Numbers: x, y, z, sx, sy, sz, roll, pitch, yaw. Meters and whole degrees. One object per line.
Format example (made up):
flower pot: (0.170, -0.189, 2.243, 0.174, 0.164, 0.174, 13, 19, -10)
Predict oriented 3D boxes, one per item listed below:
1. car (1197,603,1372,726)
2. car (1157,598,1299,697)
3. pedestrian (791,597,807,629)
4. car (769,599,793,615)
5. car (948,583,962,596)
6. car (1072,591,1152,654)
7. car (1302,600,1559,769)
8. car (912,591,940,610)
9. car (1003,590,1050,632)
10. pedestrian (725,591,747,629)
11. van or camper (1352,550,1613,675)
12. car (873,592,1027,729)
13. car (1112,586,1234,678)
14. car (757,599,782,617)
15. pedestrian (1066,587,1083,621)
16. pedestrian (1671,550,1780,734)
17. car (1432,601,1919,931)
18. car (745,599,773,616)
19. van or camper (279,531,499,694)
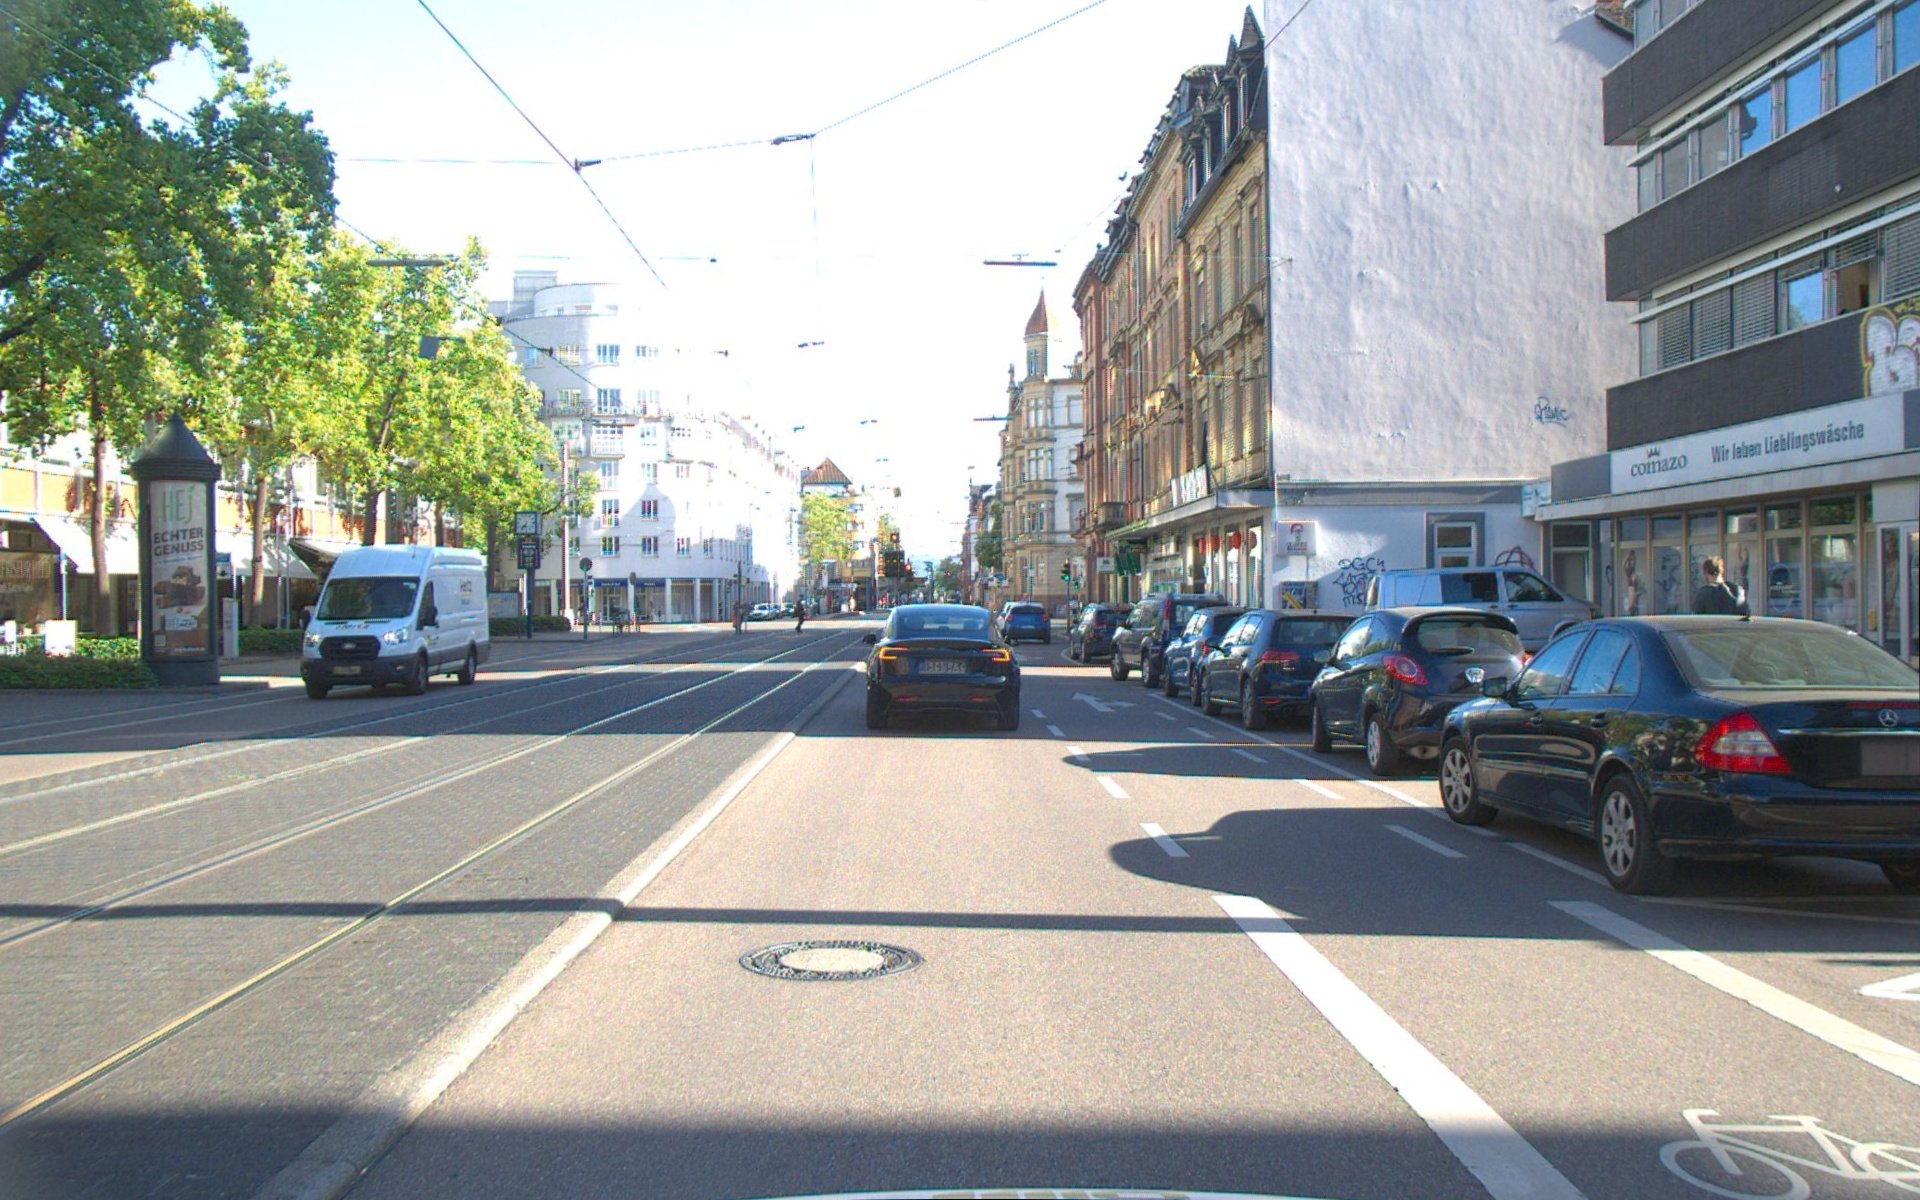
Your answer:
car: (4.124, 0.766, 21.532, 1.432, 1.457, 3.812, 0, 0, -2)
car: (4.216, 0.705, 26.527, 1.547, 1.469, 3.912, 0, 0, -2)
pedestrian: (-7.636, 0.622, 78.567, 0.687, 1.528, 0.795, 0, 0, 0)
car: (-18.074, 0.693, 167.054, 1.953, 1.521, 3.999, -1, 1, -1)
car: (-0.665, -1.366, 219.270, 1.808, 1.620, 4.000, -2, 1, 0)
car: (3.847, 0.537, 42.437, 1.680, 1.498, 3.719, -1, 1, 0)
car: (4.435, 0.737, 16.037, 1.546, 1.472, 3.309, 0, 0, 0)
car: (-2.775, 0.056, 133.779, 1.955, 1.552, 3.995, 1, -1, -5)
car: (2.412, 0.388, 60.826, 1.561, 1.458, 3.686, -1, 1, 0)
pedestrian: (-10.253, 0.448, 75.637, 0.826, 1.725, 0.797, 1, 1, 6)
van or camper: (10.416, 0.235, 33.239, 4.547, 2.173, 1.988, -3, 0, 3)
car: (-0.179, 0.662, 20.100, 1.685, 1.430, 3.709, 1, 1, -2)
car: (4.011, 0.581, 31.717, 1.792, 1.656, 4.095, 0, 0, 0)
car: (-18.150, 0.739, 157.930, 1.953, 1.602, 3.999, -1, 1, -1)
pedestrian: (5.645, 0.202, 81.667, 0.734, 1.645, 0.705, -1, 0, -3)
pedestrian: (7.891, 0.419, 17.080, 0.706, 1.843, 0.889, -1, 0, 3)
car: (4.378, 0.777, 9.963, 1.676, 1.482, 4.549, 0, 1, -1)
car: (-17.153, 0.609, 141.333, 1.953, 1.392, 3.999, -1, 1, -1)
van or camper: (-10.618, 0.174, 31.433, 2.097, 2.700, 6.876, -1, 1, -3)
